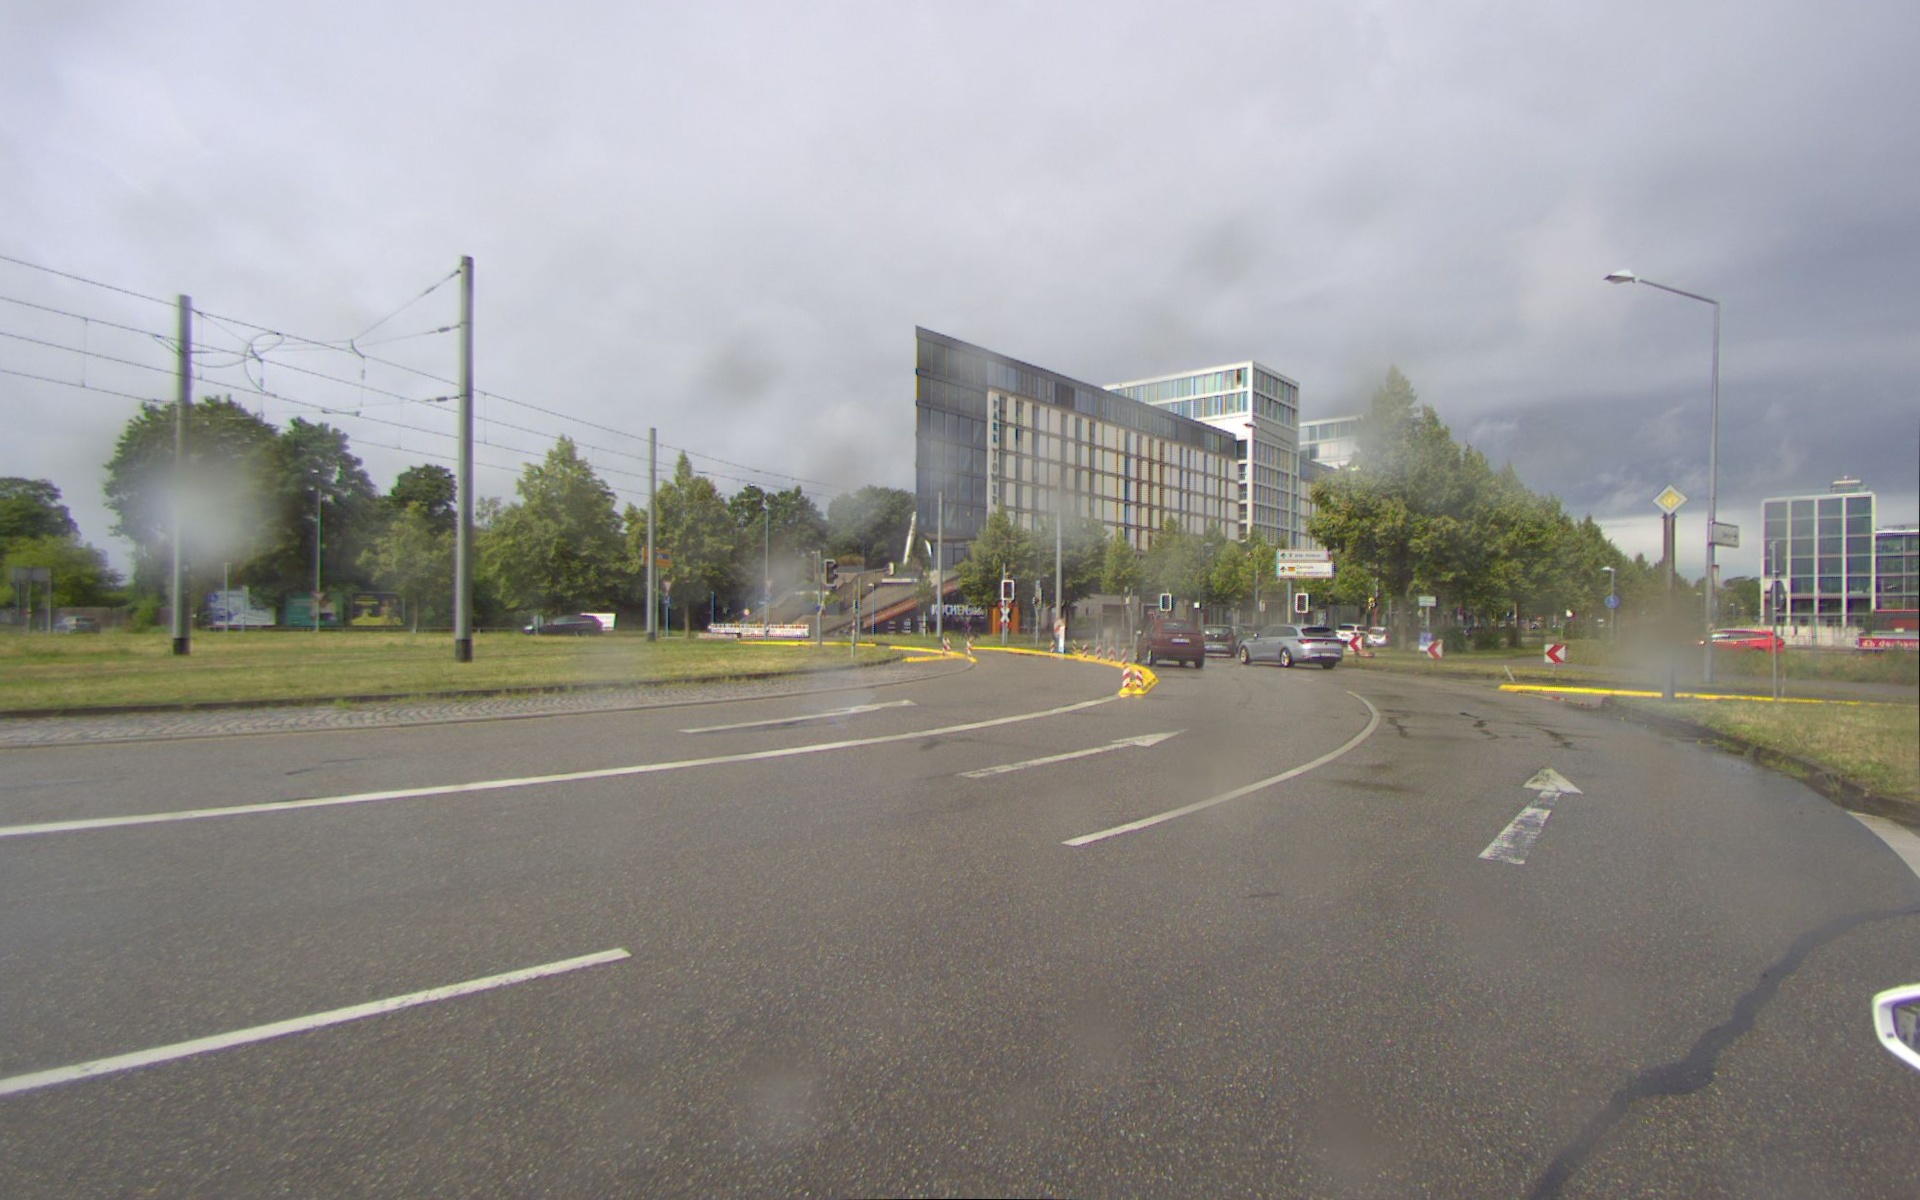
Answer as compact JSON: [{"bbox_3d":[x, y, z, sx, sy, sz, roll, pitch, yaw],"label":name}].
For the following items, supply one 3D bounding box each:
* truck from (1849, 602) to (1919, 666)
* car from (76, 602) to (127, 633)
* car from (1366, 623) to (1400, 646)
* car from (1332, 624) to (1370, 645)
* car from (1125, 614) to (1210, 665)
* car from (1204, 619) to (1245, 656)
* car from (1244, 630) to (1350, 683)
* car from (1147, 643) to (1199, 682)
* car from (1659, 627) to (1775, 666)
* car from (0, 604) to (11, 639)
[{"bbox_3d":[37.444,1.270,39.957,6.051,2.241,2.369,-2,1,-41],"label":"truck"},{"bbox_3d":[-59.511,1.162,69.613,3.938,2.041,1.991,0,1,39],"label":"car"},{"bbox_3d":[30.456,2.460,72.334,1.476,1.530,3.487,1,0,36],"label":"car"},{"bbox_3d":[29.522,2.599,75.771,1.479,1.530,3.480,1,0,43],"label":"car"},{"bbox_3d":[6.346,1.219,31.066,1.686,1.481,4.000,0,-2,-2],"label":"car"},{"bbox_3d":[12.023,1.679,45.543,1.520,1.581,3.500,0,-1,20],"label":"car"},{"bbox_3d":[11.145,1.832,33.441,1.574,1.581,3.537,0,-1,-18],"label":"car"},{"bbox_3d":[9.692,2.809,45.568,1.521,1.581,3.497,0,-1,25],"label":"car"},{"bbox_3d":[34.310,2.073,45.607,4.126,1.531,1.850,0,1,38],"label":"car"},{"bbox_3d":[-51.739,1.128,53.350,1.864,1.840,3.946,1,-1,-45],"label":"car"}]
